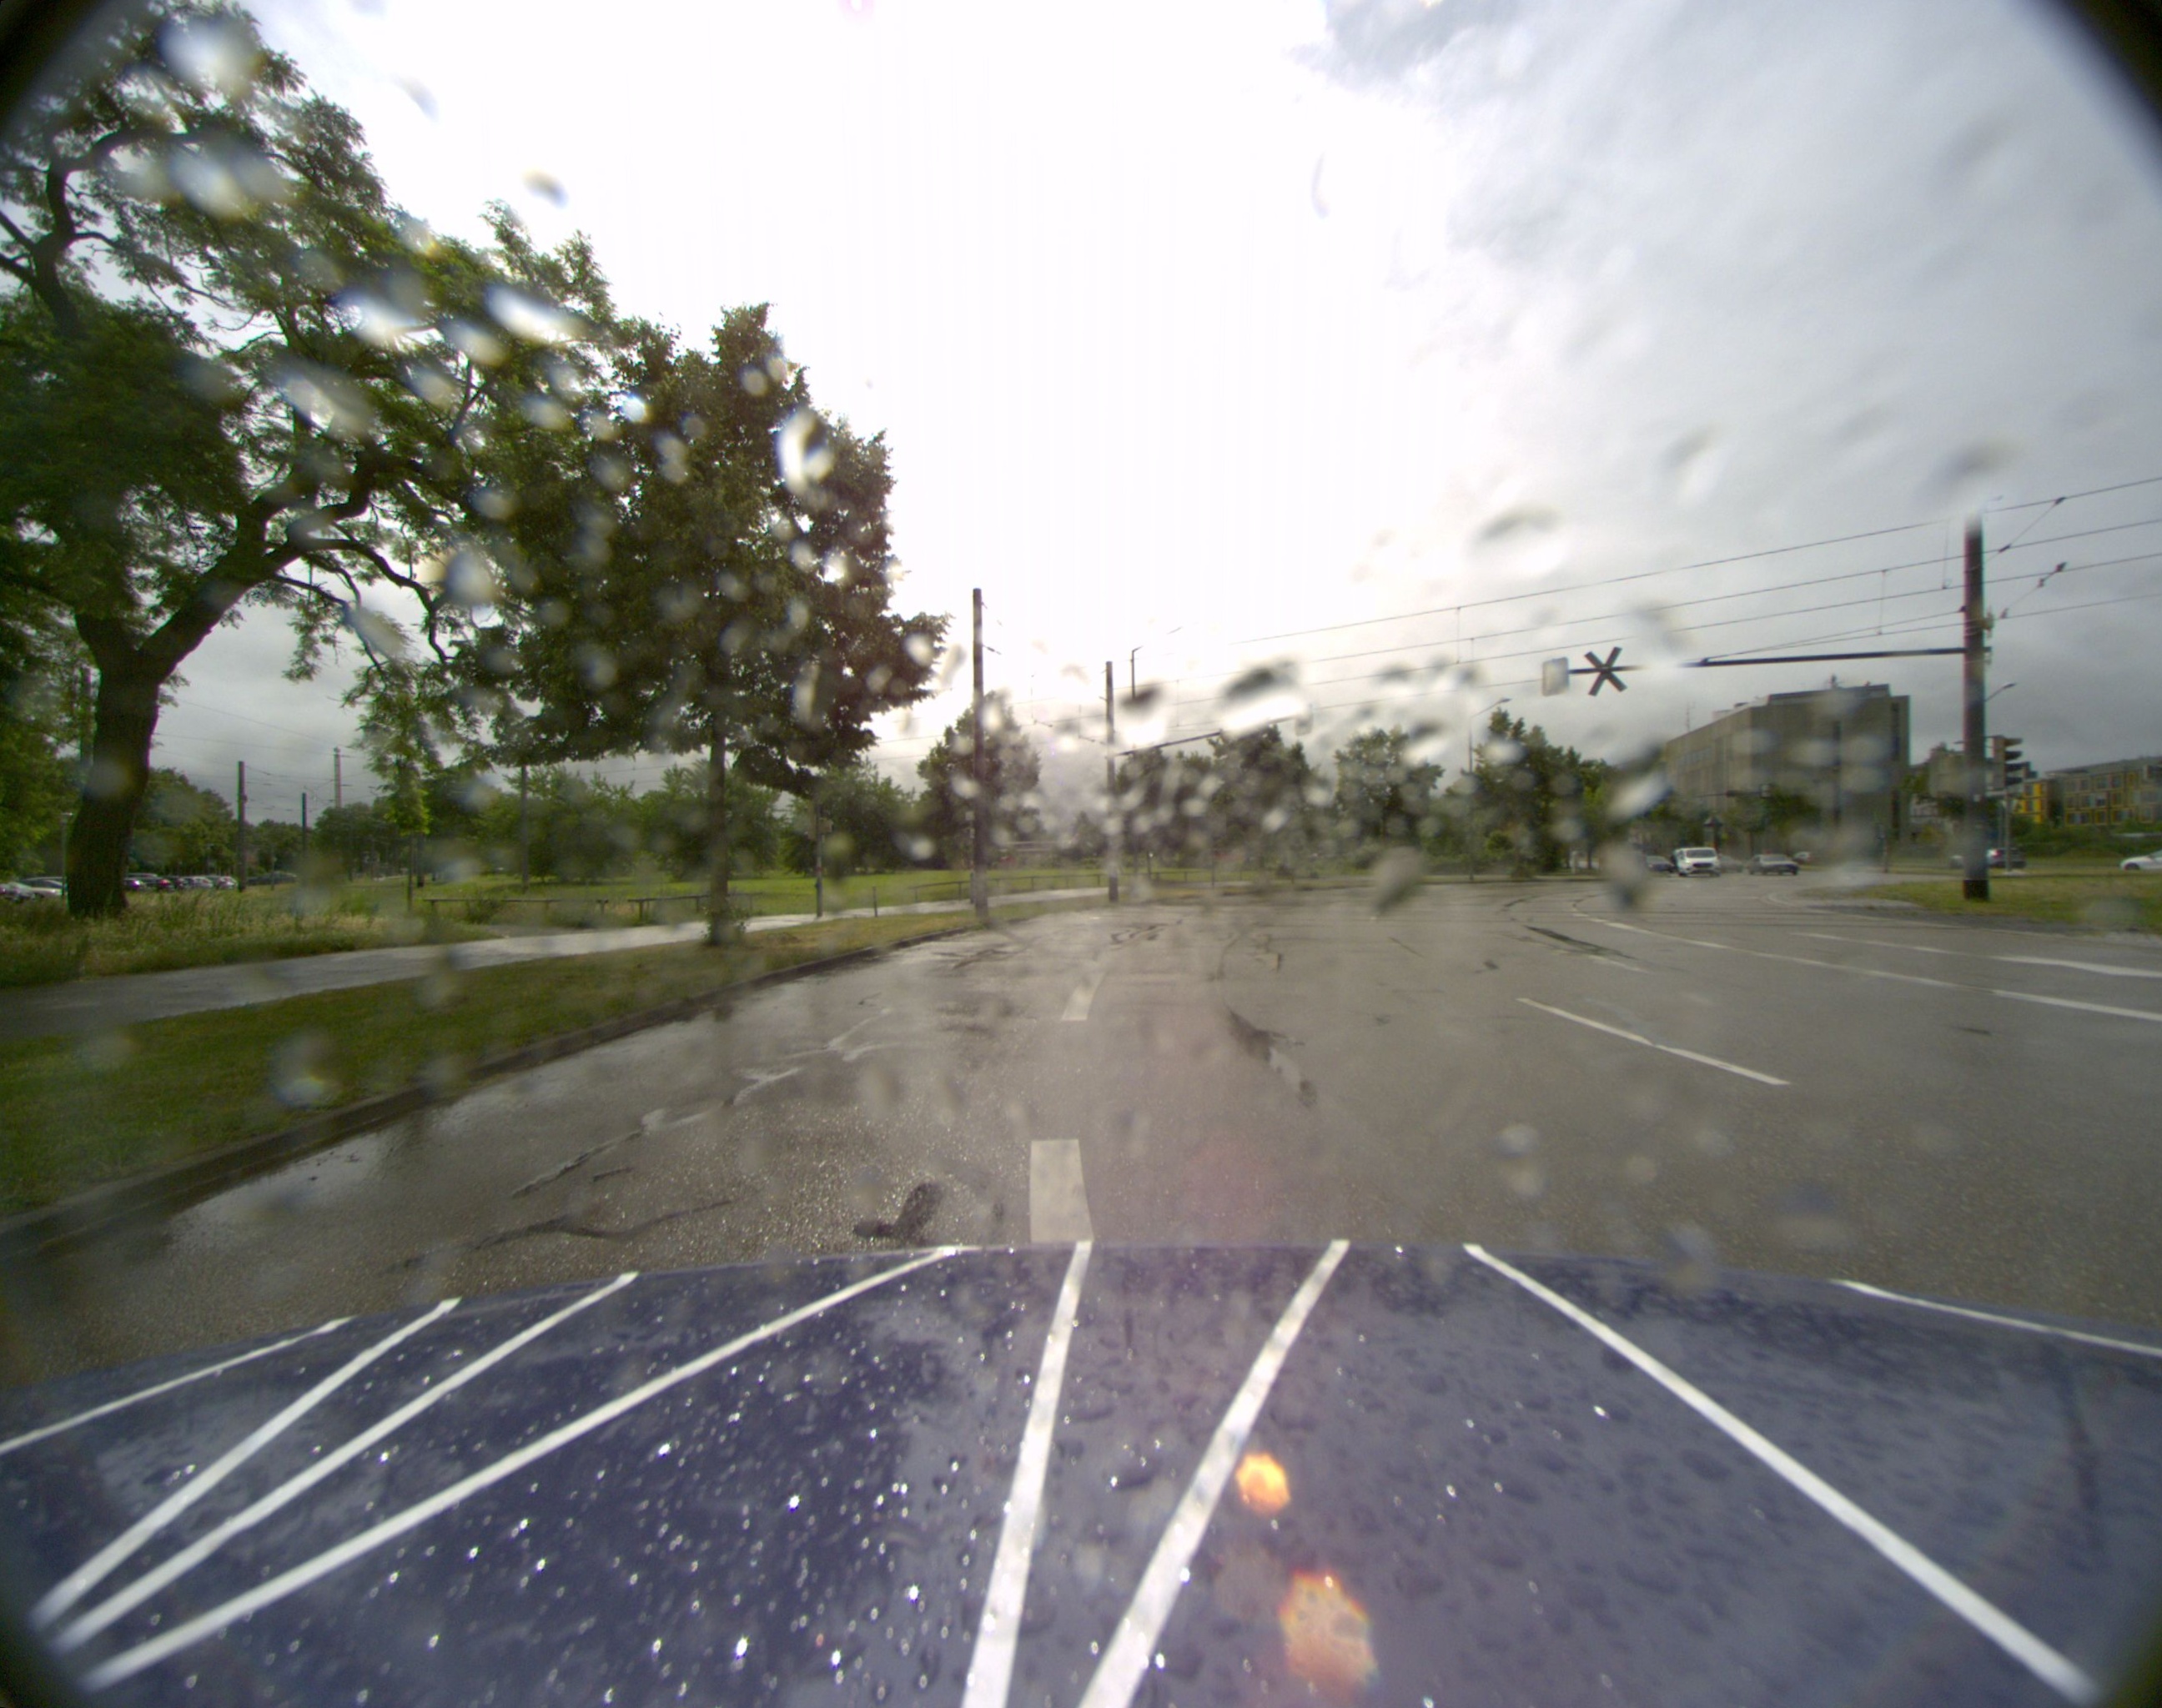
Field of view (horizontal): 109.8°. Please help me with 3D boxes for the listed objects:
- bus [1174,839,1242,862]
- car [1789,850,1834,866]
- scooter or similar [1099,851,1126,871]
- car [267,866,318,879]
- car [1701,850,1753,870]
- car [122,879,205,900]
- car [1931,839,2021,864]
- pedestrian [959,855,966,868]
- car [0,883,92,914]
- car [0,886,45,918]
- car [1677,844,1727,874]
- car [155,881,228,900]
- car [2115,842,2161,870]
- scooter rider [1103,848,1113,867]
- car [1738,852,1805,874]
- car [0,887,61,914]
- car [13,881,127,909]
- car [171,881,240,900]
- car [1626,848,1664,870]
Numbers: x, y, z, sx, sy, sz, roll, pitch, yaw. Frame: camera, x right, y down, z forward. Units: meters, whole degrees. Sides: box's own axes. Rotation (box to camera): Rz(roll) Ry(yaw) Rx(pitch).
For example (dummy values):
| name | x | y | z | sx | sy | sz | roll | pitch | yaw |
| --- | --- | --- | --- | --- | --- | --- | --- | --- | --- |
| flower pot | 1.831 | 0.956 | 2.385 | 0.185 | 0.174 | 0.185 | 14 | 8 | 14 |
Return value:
| name | x | y | z | sx | sy | sz | roll | pitch | yaw |
| --- | --- | --- | --- | --- | --- | --- | --- | --- | --- |
| bus | 21.214 | -0.534 | 127.012 | 10.965 | 3.438 | 2.003 | -2 | -2 | 15 |
| car | 66.606 | 0.393 | 69.335 | 1.731 | 1.404 | 4.136 | -1 | -1 | 25 |
| scooter or similar | 3.338 | 0.784 | 80.245 | 1.242 | 2.001 | 3.402 | -1 | -2 | -29 |
| car | -103.298 | 2.457 | 99.613 | 4.412 | 1.550 | 1.845 | -1 | 0 | -38 |
| car | 50.947 | 0.453 | 59.993 | 1.863 | 1.527 | 4.495 | 0 | 1 | 23 |
| car | -75.125 | 2.882 | 62.292 | 3.986 | 1.550 | 1.845 | -1 | 0 | -38 |
| car | 63.248 | -0.164 | 53.802 | 1.872 | 1.653 | 4.489 | -1 | -1 | 15 |
| pedestrian | -15.128 | 0.952 | 97.149 | 0.598 | 1.721 | 0.607 | -3 | -2 | 42 |
| car | -59.808 | 2.529 | 43.200 | 3.986 | 1.550 | 1.845 | -1 | 0 | -38 |
| car | -56.568 | 2.504 | 38.769 | 3.986 | 1.550 | 1.845 | -1 | 0 | -38 |
| car | 43.095 | 0.365 | 52.836 | 2.073 | 1.975 | 4.810 | 0 | -1 | 32 |
| car | -80.908 | 3.302 | 69.155 | 3.986 | 1.550 | 1.845 | -1 | 0 | -38 |
| car | 59.742 | 0.108 | 41.377 | 1.725 | 1.499 | 3.906 | 0 | 0 | 5 |
| scooter rider | 2.913 | 0.365 | 80.914 | 0.707 | 2.001 | 0.769 | -1 | -2 | -32 |
| car | 46.043 | 0.579 | 50.789 | 1.863 | 1.372 | 4.559 | -2 | -1 | 23 |
| car | -58.412 | 2.556 | 40.777 | 3.986 | 1.300 | 1.845 | -1 | 0 | -38 |
| car | -64.182 | 2.576 | 48.354 | 3.986 | 1.550 | 1.845 | -1 | 0 | -38 |
| car | -82.119 | 3.416 | 71.341 | 3.986 | 1.550 | 1.845 | -1 | 0 | -38 |
| car | 53.492 | 0.472 | 72.131 | 2.073 | 1.975 | 4.809 | 0 | -1 | 26 |
